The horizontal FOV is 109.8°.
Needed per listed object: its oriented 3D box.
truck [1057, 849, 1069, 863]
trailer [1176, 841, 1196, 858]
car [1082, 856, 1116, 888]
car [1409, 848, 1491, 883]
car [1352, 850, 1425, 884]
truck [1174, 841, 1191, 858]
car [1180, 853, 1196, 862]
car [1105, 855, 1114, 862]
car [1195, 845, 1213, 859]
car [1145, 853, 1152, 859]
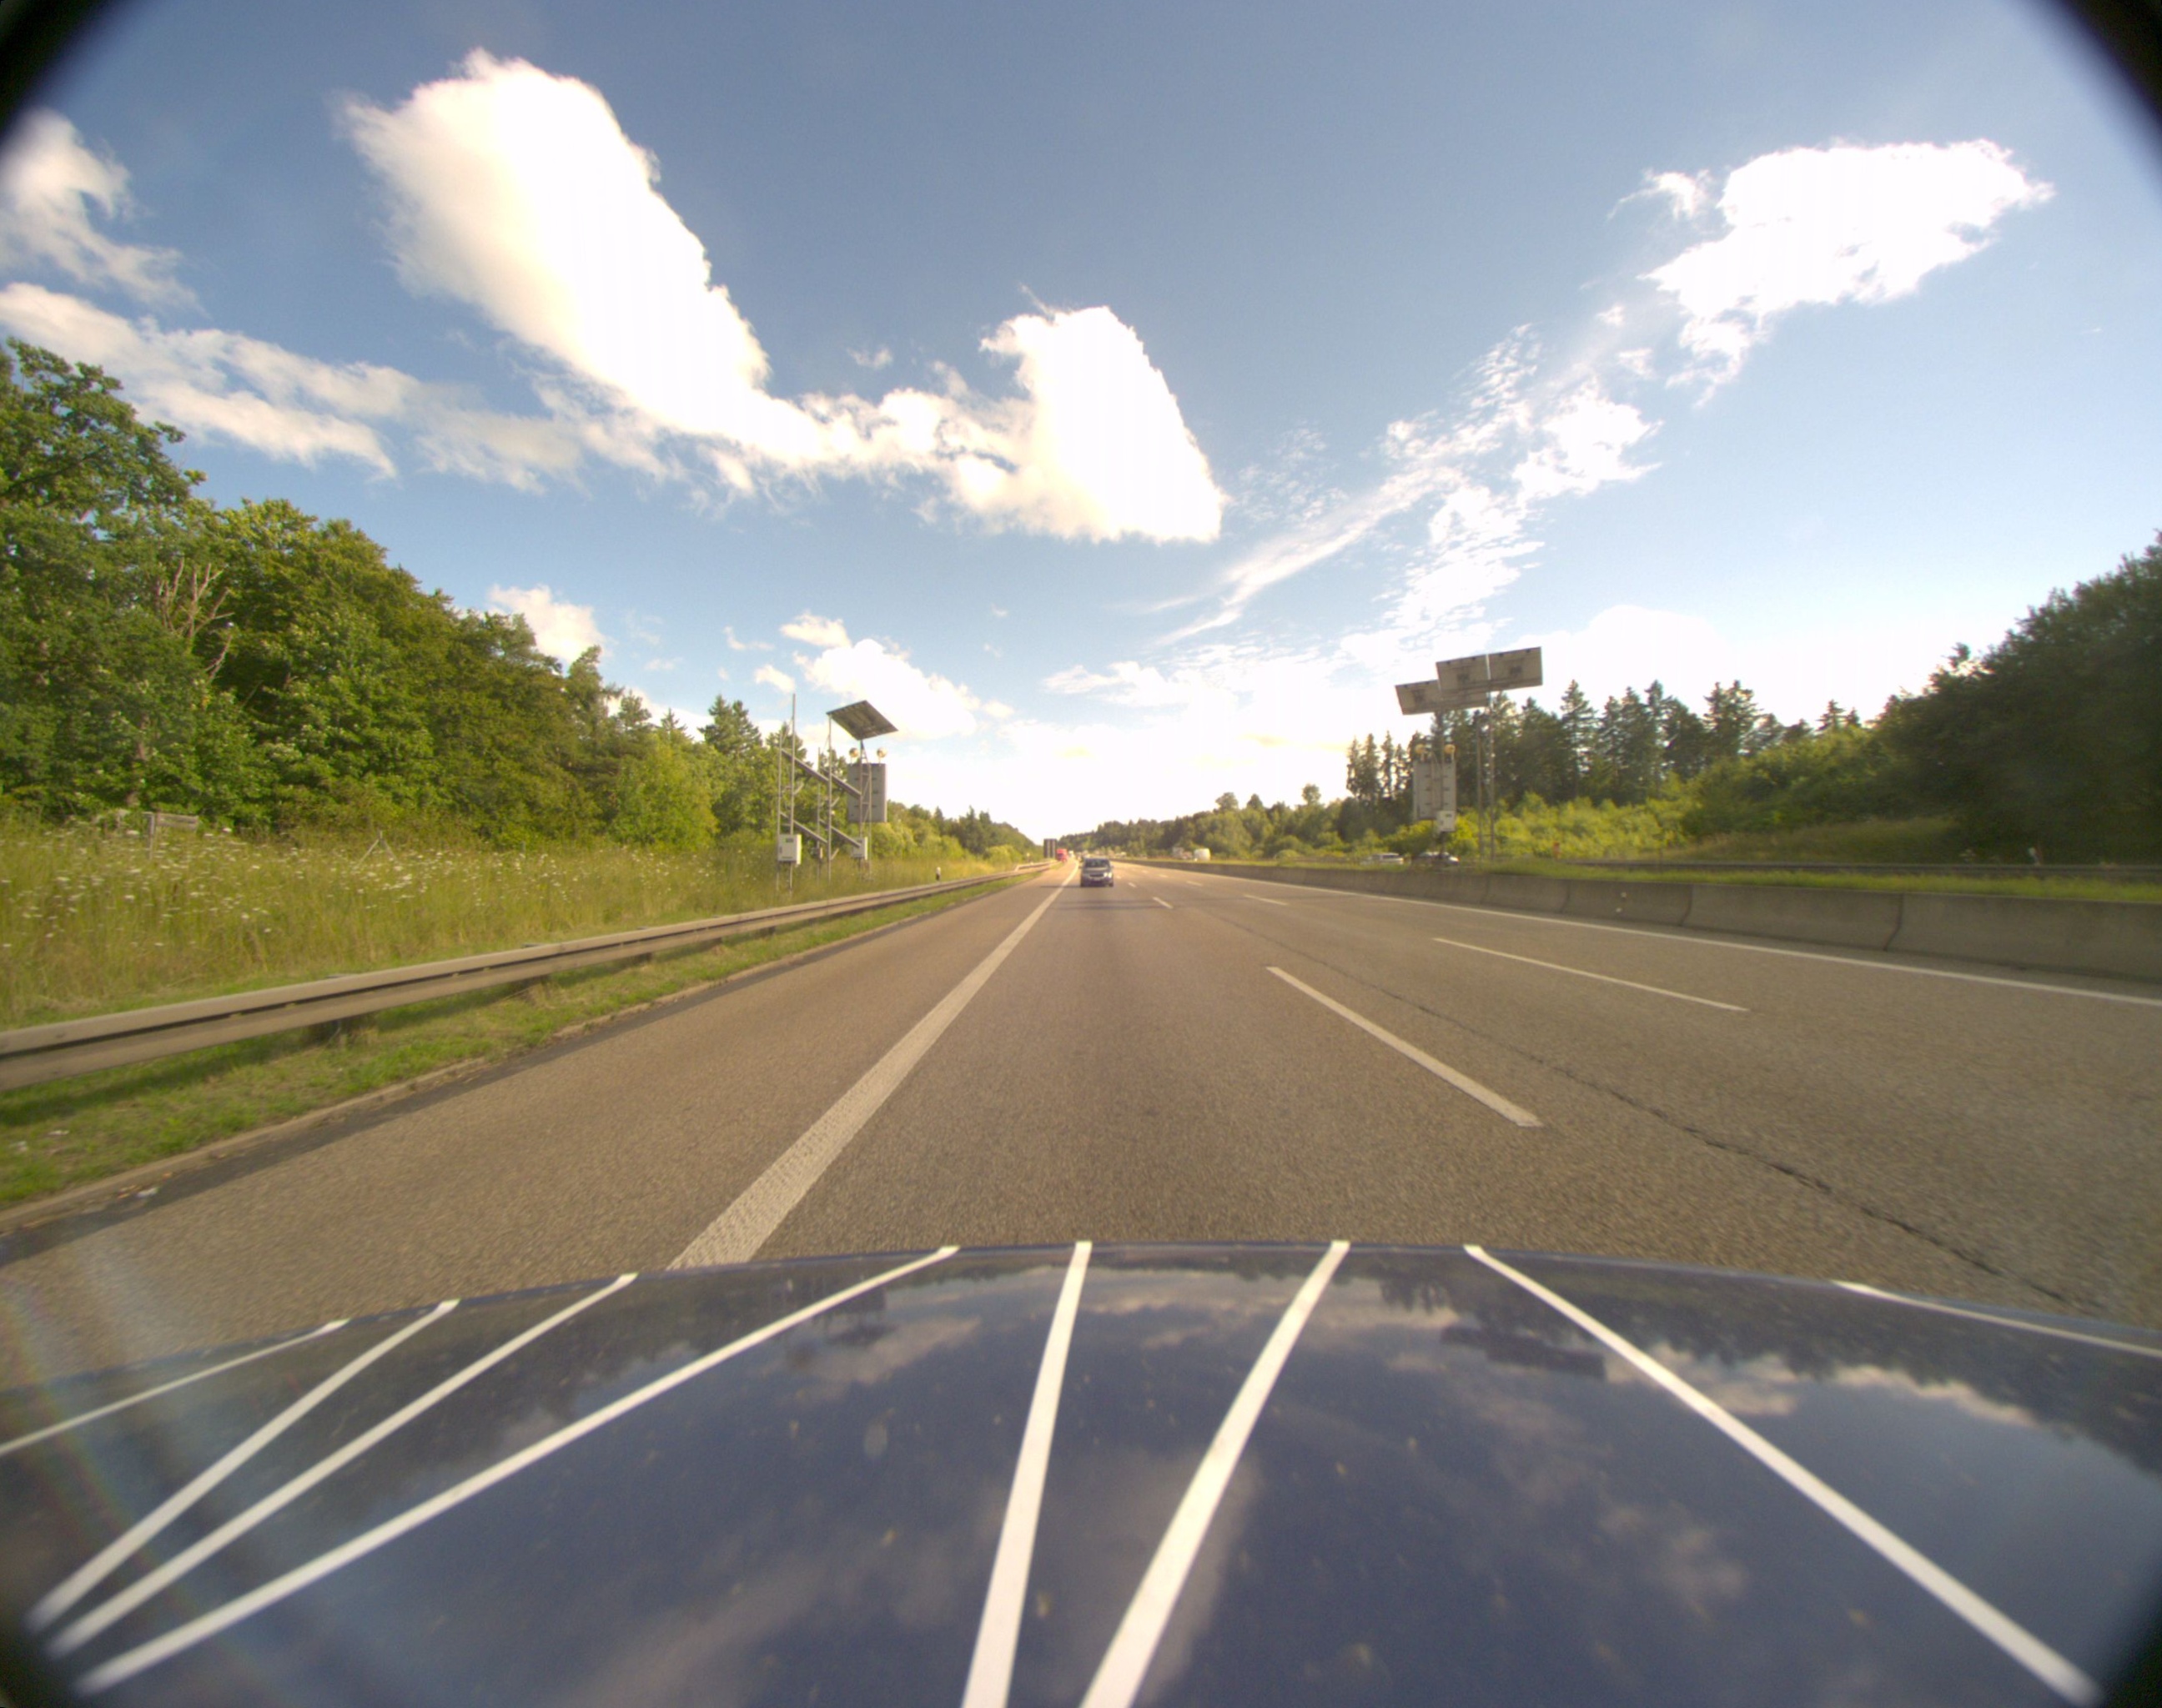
[{"bbox_3d":[-5.255,0.630,221.850,2.880,3.871,8.958,-2,0,1],"label":"truck"},{"bbox_3d":[24.725,-1.066,178.879,3.132,3.815,12.209,-1,0,1],"label":"trailer"},{"bbox_3d":[0.971,0.915,41.095,1.742,1.608,4.083,-1,0,1],"label":"car"},{"bbox_3d":[24.458,0.737,50.670,2.585,2.126,5.966,-1,0,1],"label":"car"},{"bbox_3d":[20.756,0.845,51.571,2.585,2.126,5.966,-1,0,1],"label":"car"},{"bbox_3d":[24.808,-1.090,186.039,3.122,3.815,7.123,-1,0,1],"label":"truck"},{"bbox_3d":[16.931,0.529,120.038,1.998,1.444,4.000,-1,0,1],"label":"car"},{"bbox_3d":[5.653,0.889,149.989,1.749,1.276,4.199,-1,0,1],"label":"car"},{"bbox_3d":[21.096,-0.280,130.812,2.114,2.299,6.724,-2,0,1],"label":"car"},{"bbox_3d":[21.501,0.633,242.796,1.998,2.002,4.859,-1,0,1],"label":"car"}]
